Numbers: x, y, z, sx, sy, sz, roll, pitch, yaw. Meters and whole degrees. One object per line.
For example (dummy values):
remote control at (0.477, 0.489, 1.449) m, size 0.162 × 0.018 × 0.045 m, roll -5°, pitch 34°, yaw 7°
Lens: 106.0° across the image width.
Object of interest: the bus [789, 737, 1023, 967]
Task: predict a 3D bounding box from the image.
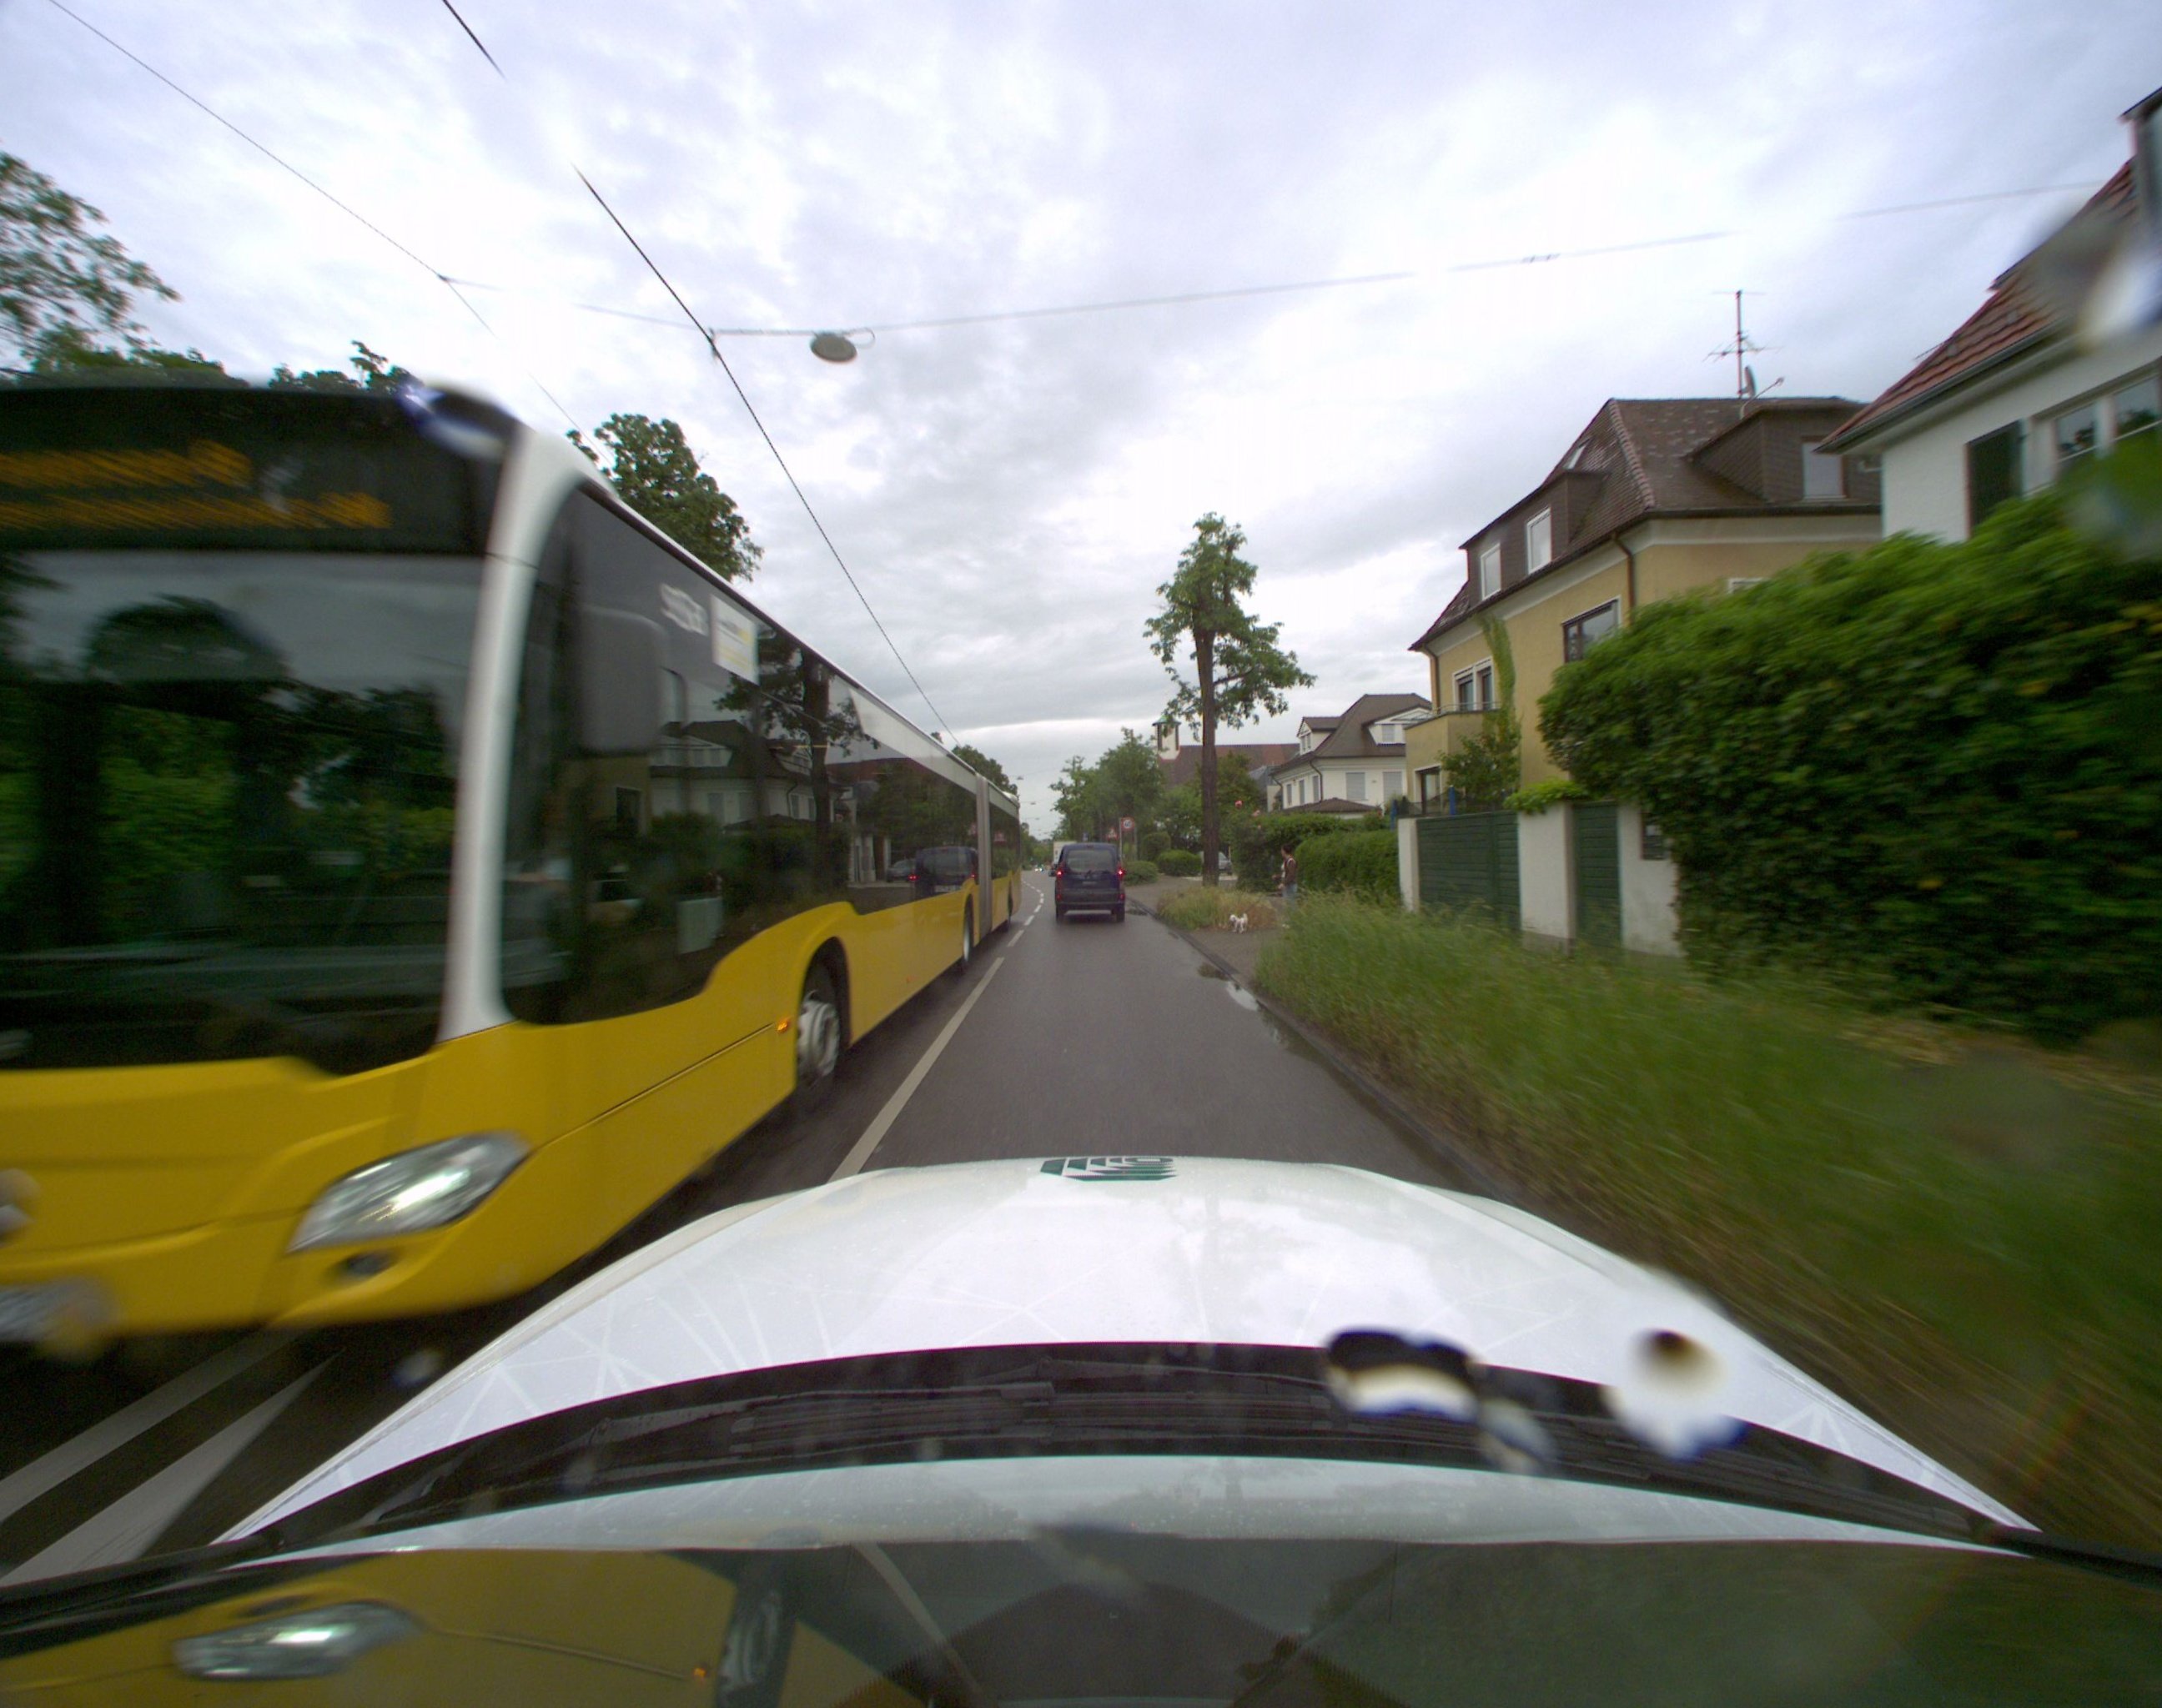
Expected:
bus at (-2.739, -0.016, 15.640) m, size 2.586 × 3.158 × 8.634 m, roll -1°, pitch 0°, yaw 0°

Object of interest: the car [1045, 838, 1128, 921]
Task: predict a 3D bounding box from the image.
car at (0.100, 0.572, 20.174) m, size 1.803 × 1.797 × 3.998 m, roll -2°, pitch 0°, yaw -1°

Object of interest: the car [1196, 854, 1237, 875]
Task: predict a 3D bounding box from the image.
car at (7.892, 0.591, 47.651) m, size 1.825 × 1.176 × 4.001 m, roll -1°, pitch 0°, yaw 1°

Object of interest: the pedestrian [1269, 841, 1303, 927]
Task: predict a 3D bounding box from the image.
pedestrian at (3.726, 0.533, 14.802) m, size 0.480 × 1.534 × 0.439 m, roll -1°, pitch -1°, yaw -4°

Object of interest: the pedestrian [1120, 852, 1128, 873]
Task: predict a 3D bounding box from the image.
pedestrian at (3.510, 0.690, 66.869) m, size 0.559 × 1.708 × 0.517 m, roll -2°, pitch -1°, yaw 6°

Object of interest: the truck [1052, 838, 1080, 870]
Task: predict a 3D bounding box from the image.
truck at (-1.786, 0.030, 93.039) m, size 2.726 × 3.387 × 6.675 m, roll -2°, pitch 0°, yaw -4°

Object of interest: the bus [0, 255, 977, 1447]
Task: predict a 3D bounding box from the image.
bus at (-2.787, 0.005, 6.694) m, size 2.635 × 3.044 × 9.228 m, roll -1°, pitch 0°, yaw 0°
